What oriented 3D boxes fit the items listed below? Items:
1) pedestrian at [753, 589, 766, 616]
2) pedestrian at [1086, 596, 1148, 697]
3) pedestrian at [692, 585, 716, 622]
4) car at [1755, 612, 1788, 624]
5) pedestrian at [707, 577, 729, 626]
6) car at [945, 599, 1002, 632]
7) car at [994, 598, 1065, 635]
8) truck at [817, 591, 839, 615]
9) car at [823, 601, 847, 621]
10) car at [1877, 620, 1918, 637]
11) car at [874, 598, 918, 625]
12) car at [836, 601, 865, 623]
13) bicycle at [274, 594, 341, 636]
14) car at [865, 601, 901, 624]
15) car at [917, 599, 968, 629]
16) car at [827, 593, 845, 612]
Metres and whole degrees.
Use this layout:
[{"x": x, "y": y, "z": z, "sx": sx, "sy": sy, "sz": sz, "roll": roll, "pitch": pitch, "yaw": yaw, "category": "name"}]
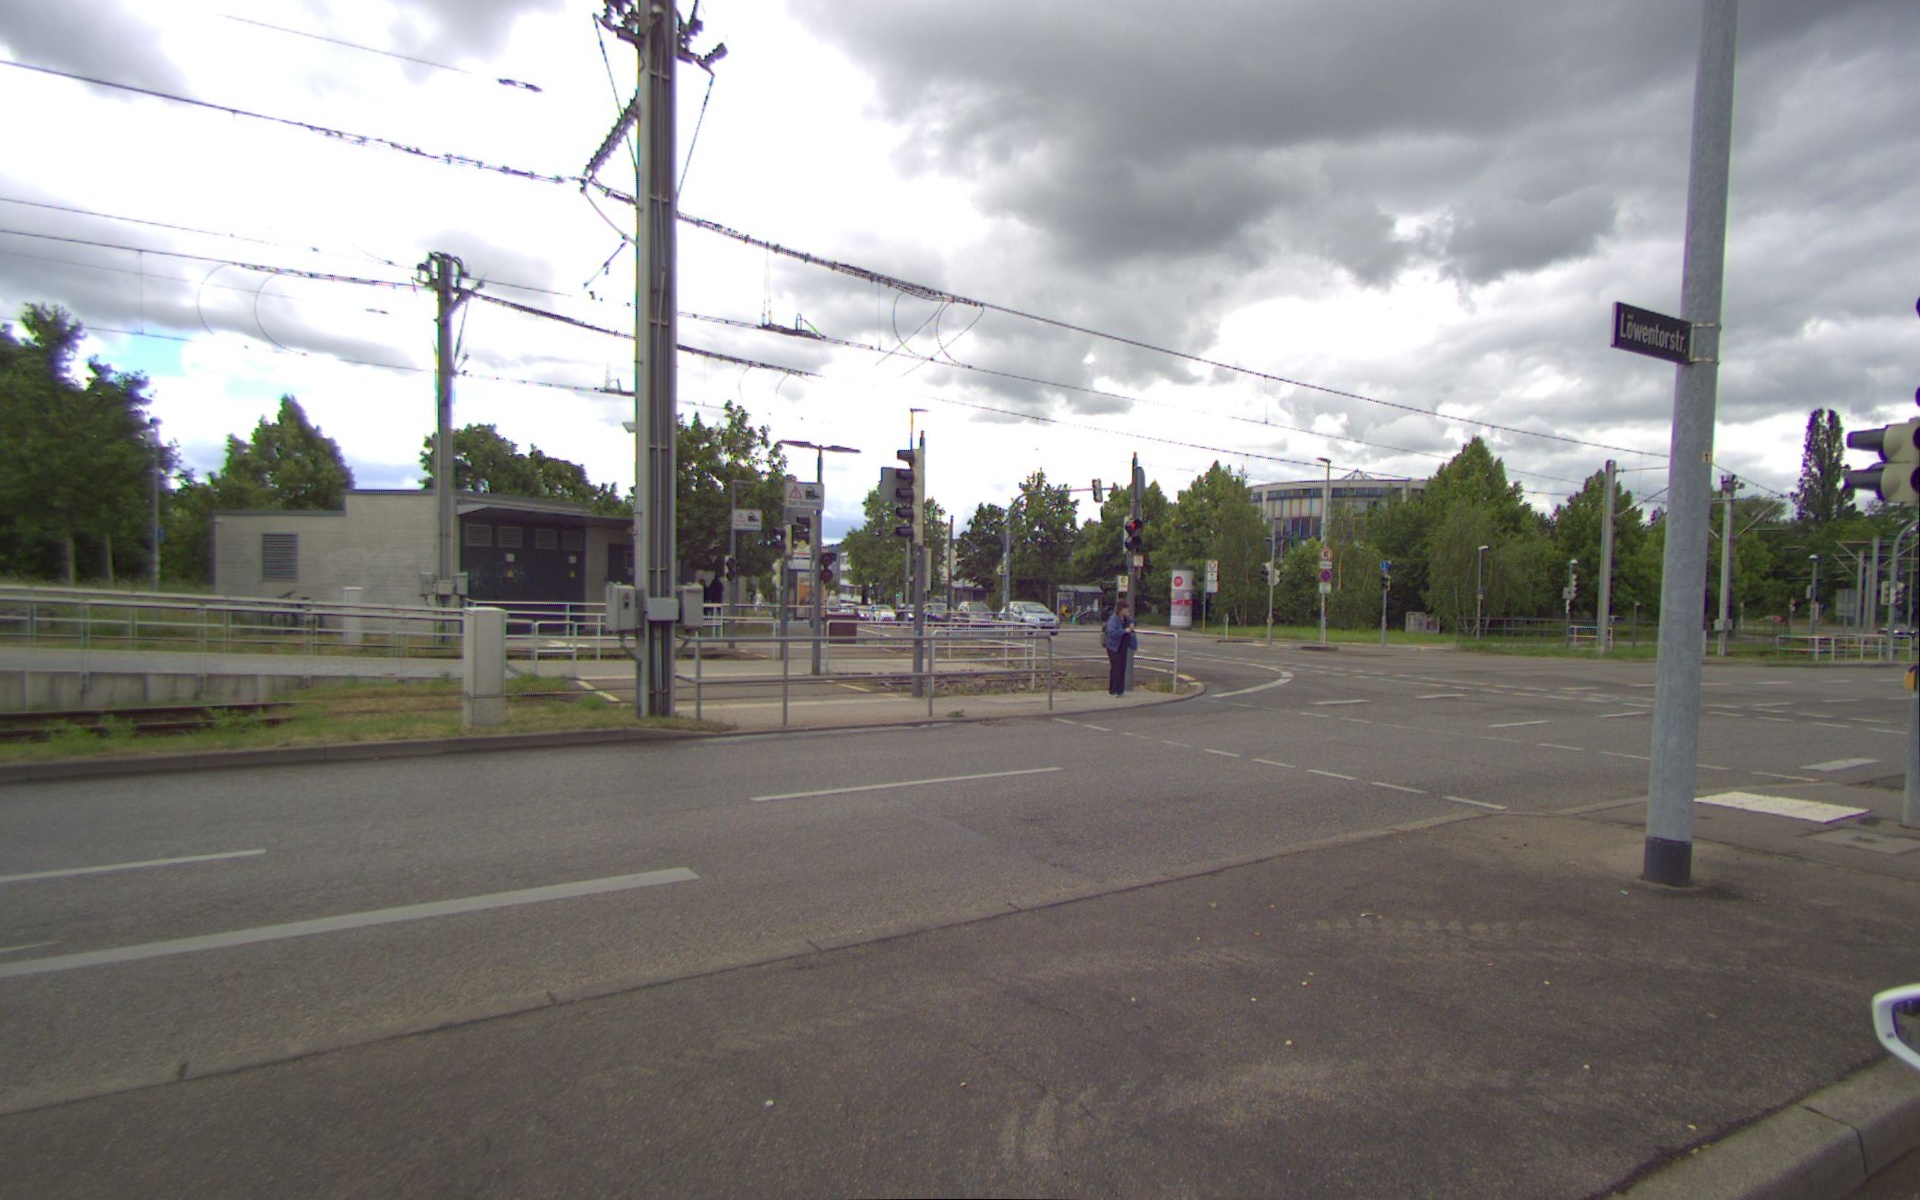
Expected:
[{"x": -11.868, "y": 0.143, "z": 59.459, "sx": 0.633, "sy": 1.557, "sz": 0.521, "roll": 2, "pitch": 0, "yaw": -2, "category": "pedestrian"}, {"x": 2.513, "y": 0.730, "z": 16.063, "sx": 0.712, "sy": 1.557, "sz": 0.630, "roll": 2, "pitch": 0, "yaw": -33, "category": "pedestrian"}, {"x": -9.574, "y": 0.127, "z": 37.524, "sx": 0.590, "sy": 1.377, "sz": 0.616, "roll": 2, "pitch": 0, "yaw": 18, "category": "pedestrian"}, {"x": 116.070, "y": 2.498, "z": 143.690, "sx": 1.754, "sy": 1.625, "sz": 3.889, "roll": 2, "pitch": 0, "yaw": 5, "category": "car"}, {"x": -8.934, "y": 0.054, "z": 37.108, "sx": 0.700, "sy": 1.751, "sz": 0.674, "roll": 2, "pitch": 0, "yaw": -19, "category": "pedestrian"}, {"x": 0.668, "y": 0.796, "z": 53.871, "sx": 1.776, "sy": 1.617, "sz": 3.982, "roll": 2, "pitch": 0, "yaw": -20, "category": "car"}, {"x": 3.198, "y": 0.735, "z": 46.904, "sx": 1.848, "sy": 1.617, "sz": 3.982, "roll": 2, "pitch": 0, "yaw": -20, "category": "car"}, {"x": -20.846, "y": 0.418, "z": 158.136, "sx": 2.963, "sy": 3.580, "sz": 9.264, "roll": 1, "pitch": 0, "yaw": -11, "category": "truck"}, {"x": -11.720, "y": 0.996, "z": 94.260, "sx": 1.869, "sy": 1.805, "sz": 3.990, "roll": 1, "pitch": 0, "yaw": -13, "category": "car"}, {"x": 93.387, "y": 2.847, "z": 100.099, "sx": 1.766, "sy": 1.608, "sz": 3.998, "roll": 2, "pitch": 0, "yaw": 24, "category": "car"}, {"x": -4.148, "y": 0.701, "z": 64.581, "sx": 1.776, "sy": 1.617, "sz": 3.982, "roll": 2, "pitch": 0, "yaw": -20, "category": "car"}, {"x": -9.476, "y": 1.026, "z": 86.681, "sx": 1.869, "sy": 1.805, "sz": 3.988, "roll": 1, "pitch": 0, "yaw": -14, "category": "car"}, {"x": -17.360, "y": 0.395, "z": 26.731, "sx": 1.778, "sy": 1.045, "sz": 0.536, "roll": 2, "pitch": 0, "yaw": 21, "category": "bicycle"}, {"x": -5.762, "y": 0.930, "z": 74.905, "sx": 1.775, "sy": 1.617, "sz": 3.985, "roll": 2, "pitch": 0, "yaw": -17, "category": "car"}, {"x": -1.062, "y": 0.764, "z": 58.044, "sx": 1.776, "sy": 1.617, "sz": 3.982, "roll": 2, "pitch": 0, "yaw": -20, "category": "car"}, {"x": -14.612, "y": 0.297, "z": 118.115, "sx": 1.964, "sy": 2.218, "sz": 5.800, "roll": 1, "pitch": 0, "yaw": -9, "category": "car"}]
